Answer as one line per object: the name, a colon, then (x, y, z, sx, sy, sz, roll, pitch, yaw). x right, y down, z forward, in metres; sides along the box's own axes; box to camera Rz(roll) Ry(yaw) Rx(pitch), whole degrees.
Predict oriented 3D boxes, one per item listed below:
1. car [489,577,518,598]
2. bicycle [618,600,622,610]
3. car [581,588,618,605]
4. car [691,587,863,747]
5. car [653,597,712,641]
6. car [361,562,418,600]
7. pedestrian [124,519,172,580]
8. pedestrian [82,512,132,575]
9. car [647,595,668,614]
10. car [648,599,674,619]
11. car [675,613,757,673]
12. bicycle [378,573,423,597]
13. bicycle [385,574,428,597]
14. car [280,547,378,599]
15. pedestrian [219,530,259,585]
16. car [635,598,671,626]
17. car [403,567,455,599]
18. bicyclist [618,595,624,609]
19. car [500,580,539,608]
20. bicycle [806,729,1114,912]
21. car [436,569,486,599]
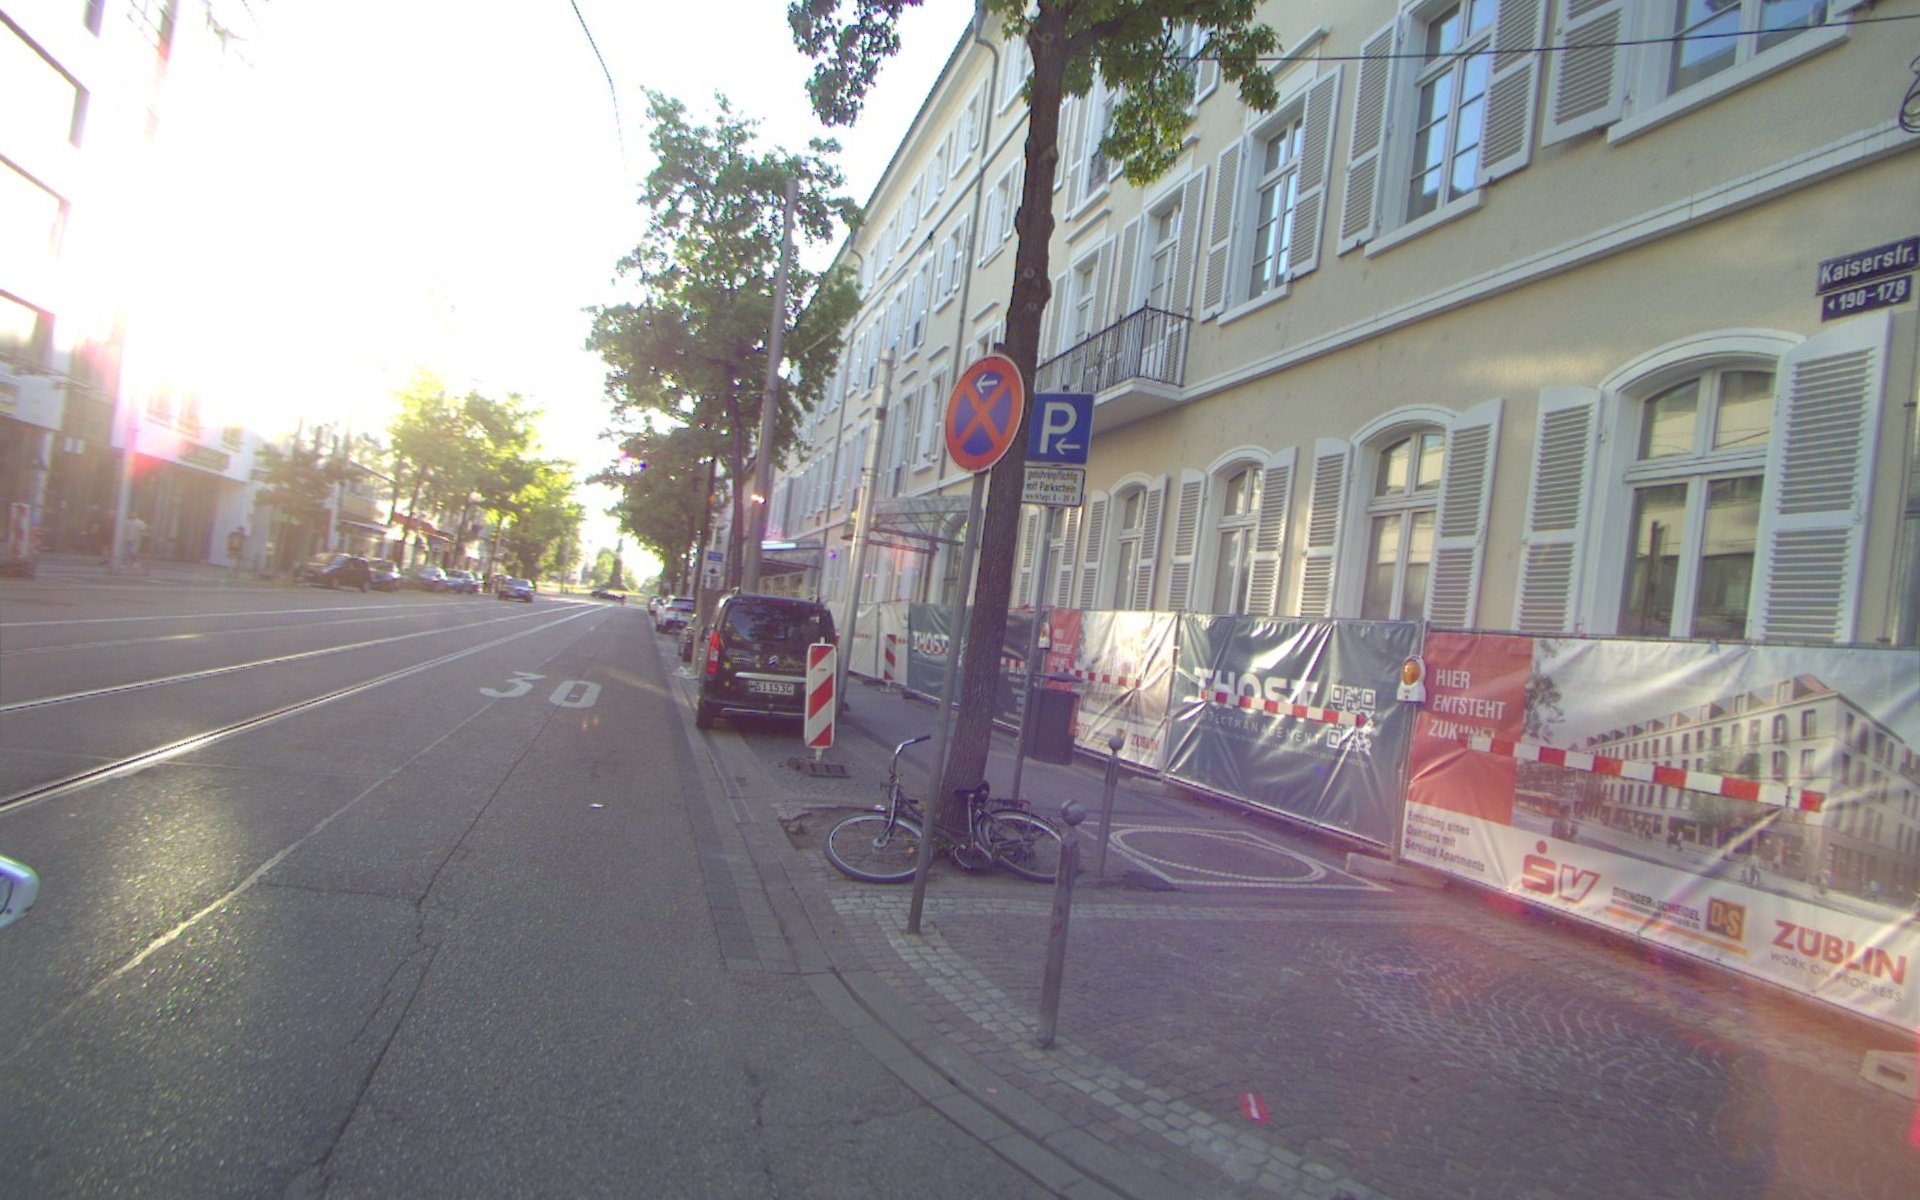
car: (-42.479, -1.157, 93.711, 1.815, 1.598, 4.104, 8, -2, -17)
bicycle: (-37.079, 0.564, 109.760, 0.261, 0.994, 1.334, 7, -2, -17)
car: (-49.908, -0.490, 139.382, 4.618, 1.703, 1.995, 8, -2, -16)
car: (-2.762, 0.869, 14.456, 1.927, 1.814, 4.306, 6, -2, -14)
car: (-12.544, 0.844, 45.254, 1.976, 1.707, 4.949, 6, -2, -20)
car: (-27.956, -0.905, 49.427, 1.776, 1.506, 4.221, 10, -3, -23)
pedestrian: (-24.761, -1.519, 30.699, 0.634, 1.732, 0.827, 9, -2, -14)
pedestrian: (-25.478, -1.666, 30.057, 0.619, 1.732, 0.806, 9, -2, -14)
car: (-31.265, 0.444, 104.051, 1.914, 1.781, 4.665, 4, -1, -18)
car: (-25.872, 0.740, 87.120, 1.969, 1.516, 4.666, 5, -1, -17)
car: (-6.665, 1.114, 27.166, 1.773, 1.327, 4.317, 6, -2, -17)
bicycle: (-29.948, -0.804, 53.867, 1.947, 1.013, 0.330, 8, -2, -15)
bicycle: (-30.681, -0.785, 55.810, 1.947, 1.013, 0.330, 8, -2, -16)
car: (-25.921, -1.080, 41.451, 1.606, 1.633, 3.710, 9, -3, -3)
pedestrian: (-26.093, -1.532, 36.438, 0.653, 1.845, 0.876, 10, -2, -17)
car: (-18.580, 0.711, 60.815, 1.889, 1.437, 4.873, 6, -2, -17)
car: (-30.938, -0.954, 58.750, 1.693, 1.476, 4.472, 10, -3, -17)
bicyclist: (-37.063, 0.217, 109.829, 0.423, 1.498, 0.464, 7, -1, -17)
car: (-27.470, -0.372, 62.887, 1.760, 1.423, 4.511, 8, -2, -19)
bicycle: (-0.003, 1.379, 6.616, 1.724, 0.756, 1.565, 6, -2, 0)
car: (-32.273, -1.000, 65.181, 1.745, 1.513, 4.168, 8, -3, -12)
